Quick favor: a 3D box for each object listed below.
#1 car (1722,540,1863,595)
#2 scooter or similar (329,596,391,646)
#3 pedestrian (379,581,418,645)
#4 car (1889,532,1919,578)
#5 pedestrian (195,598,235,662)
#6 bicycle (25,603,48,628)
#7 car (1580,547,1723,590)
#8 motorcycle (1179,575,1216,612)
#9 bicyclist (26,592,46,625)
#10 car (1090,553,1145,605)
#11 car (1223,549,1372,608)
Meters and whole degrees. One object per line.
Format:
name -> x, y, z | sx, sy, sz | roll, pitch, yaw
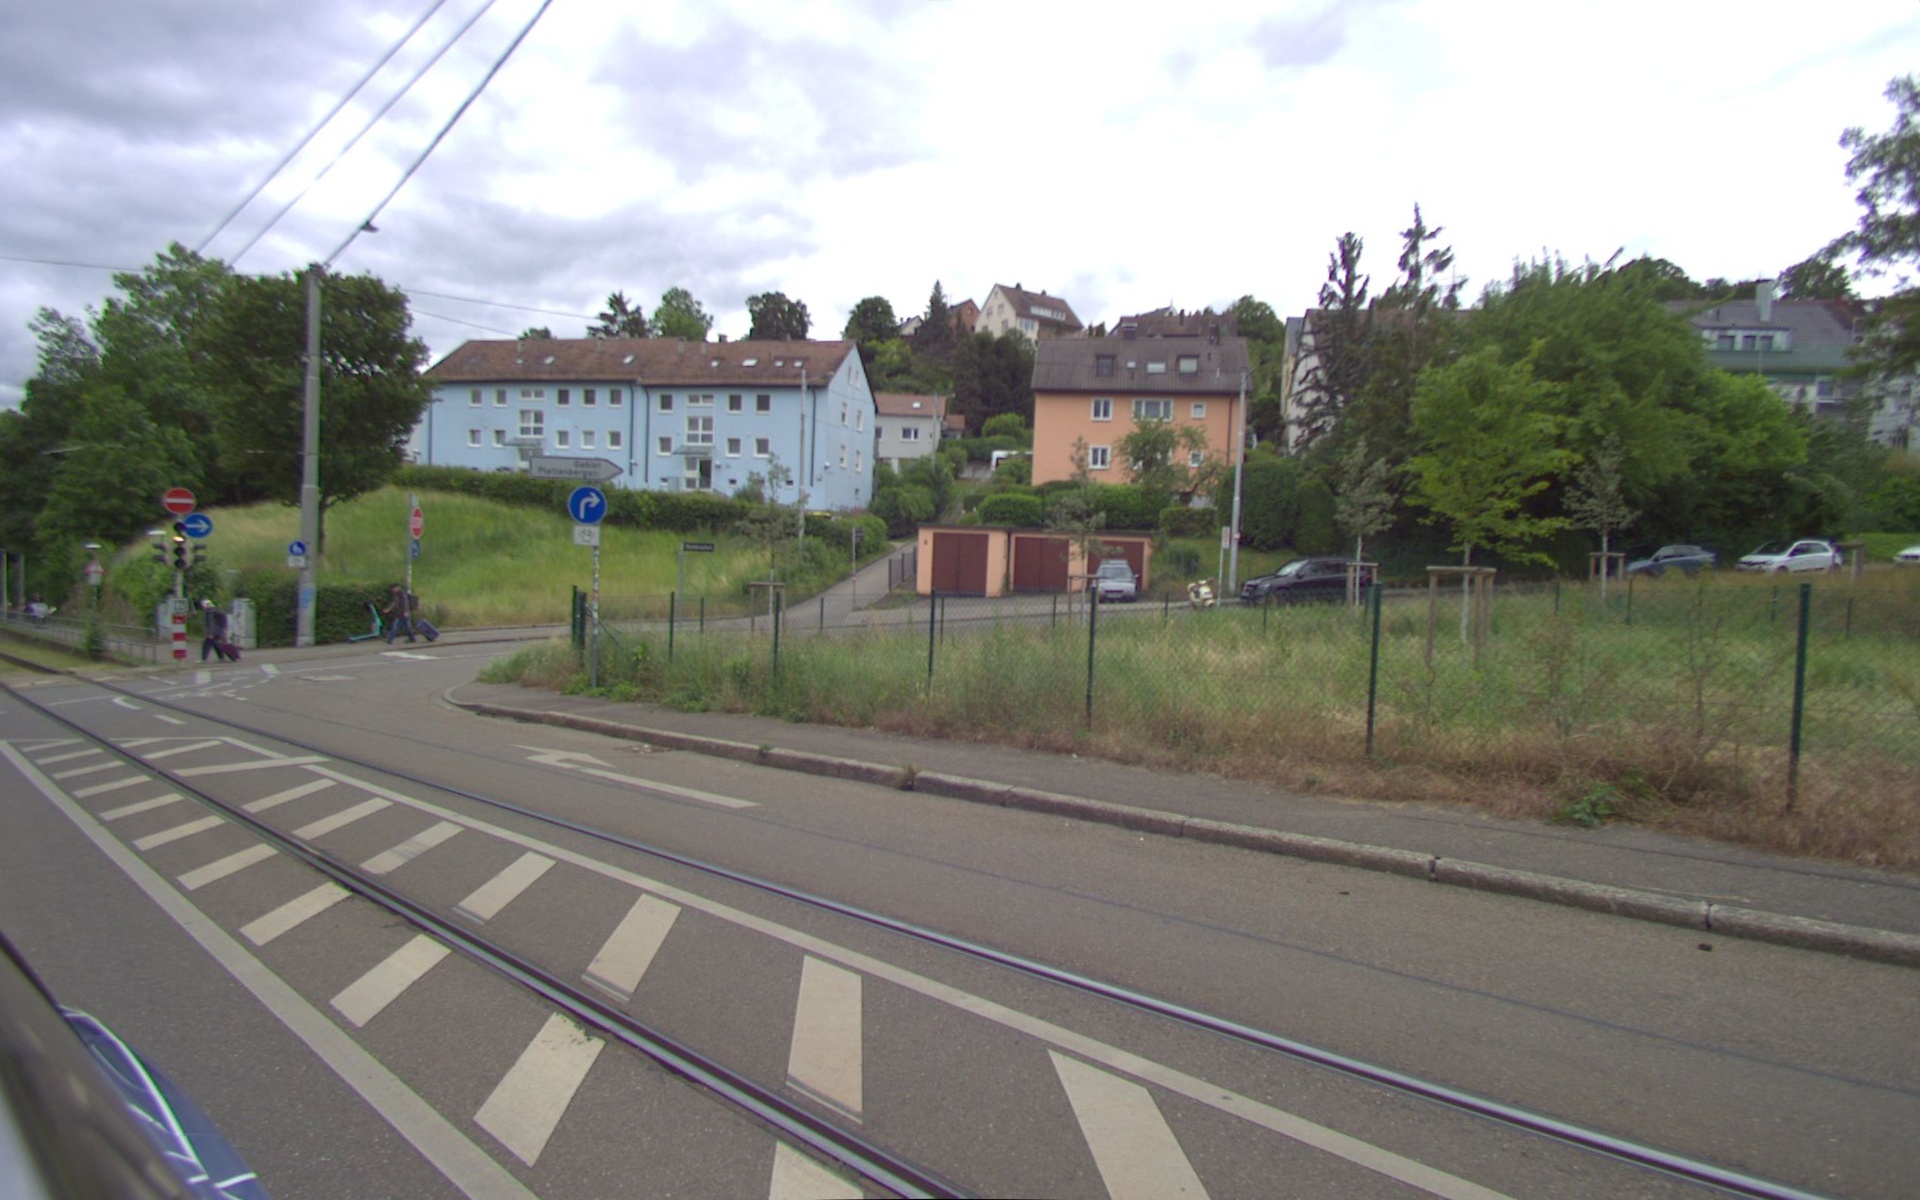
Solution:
car -> 31.883, -1.229, 38.806 | 4.065, 2.029, 1.987 | 0, 1, -9
scooter or similar -> -17.267, 0.598, 29.152 | 0.418, 1.298, 1.394 | 0, 5, 42
pedestrian -> -15.924, 0.348, 28.701 | 0.887, 1.763, 0.744 | -1, 1, -35
car -> 39.716, -1.775, 40.101 | 4.413, 1.802, 1.905 | 0, 1, -8
pedestrian -> -18.806, 0.740, 25.536 | 0.741, 1.586, 0.758 | -1, 1, -41
bicycle -> -47.690, 0.821, 52.259 | 0.742, 1.249, 2.868 | -2, 0, -44
car -> 25.476, -1.154, 37.374 | 4.066, 1.523, 1.986 | 0, 1, -8
motorcycle -> 8.110, -0.240, 34.692 | 0.513, 1.165, 1.710 | 0, 5, -12
bicyclist -> -47.981, 0.438, 52.543 | 0.696, 1.641, 1.033 | -2, 0, -45
car -> 6.052, -0.862, 39.024 | 1.977, 1.624, 4.869 | 0, 6, 9
car -> 11.615, -0.742, 34.977 | 4.379, 1.702, 1.981 | -4, 2, -10
